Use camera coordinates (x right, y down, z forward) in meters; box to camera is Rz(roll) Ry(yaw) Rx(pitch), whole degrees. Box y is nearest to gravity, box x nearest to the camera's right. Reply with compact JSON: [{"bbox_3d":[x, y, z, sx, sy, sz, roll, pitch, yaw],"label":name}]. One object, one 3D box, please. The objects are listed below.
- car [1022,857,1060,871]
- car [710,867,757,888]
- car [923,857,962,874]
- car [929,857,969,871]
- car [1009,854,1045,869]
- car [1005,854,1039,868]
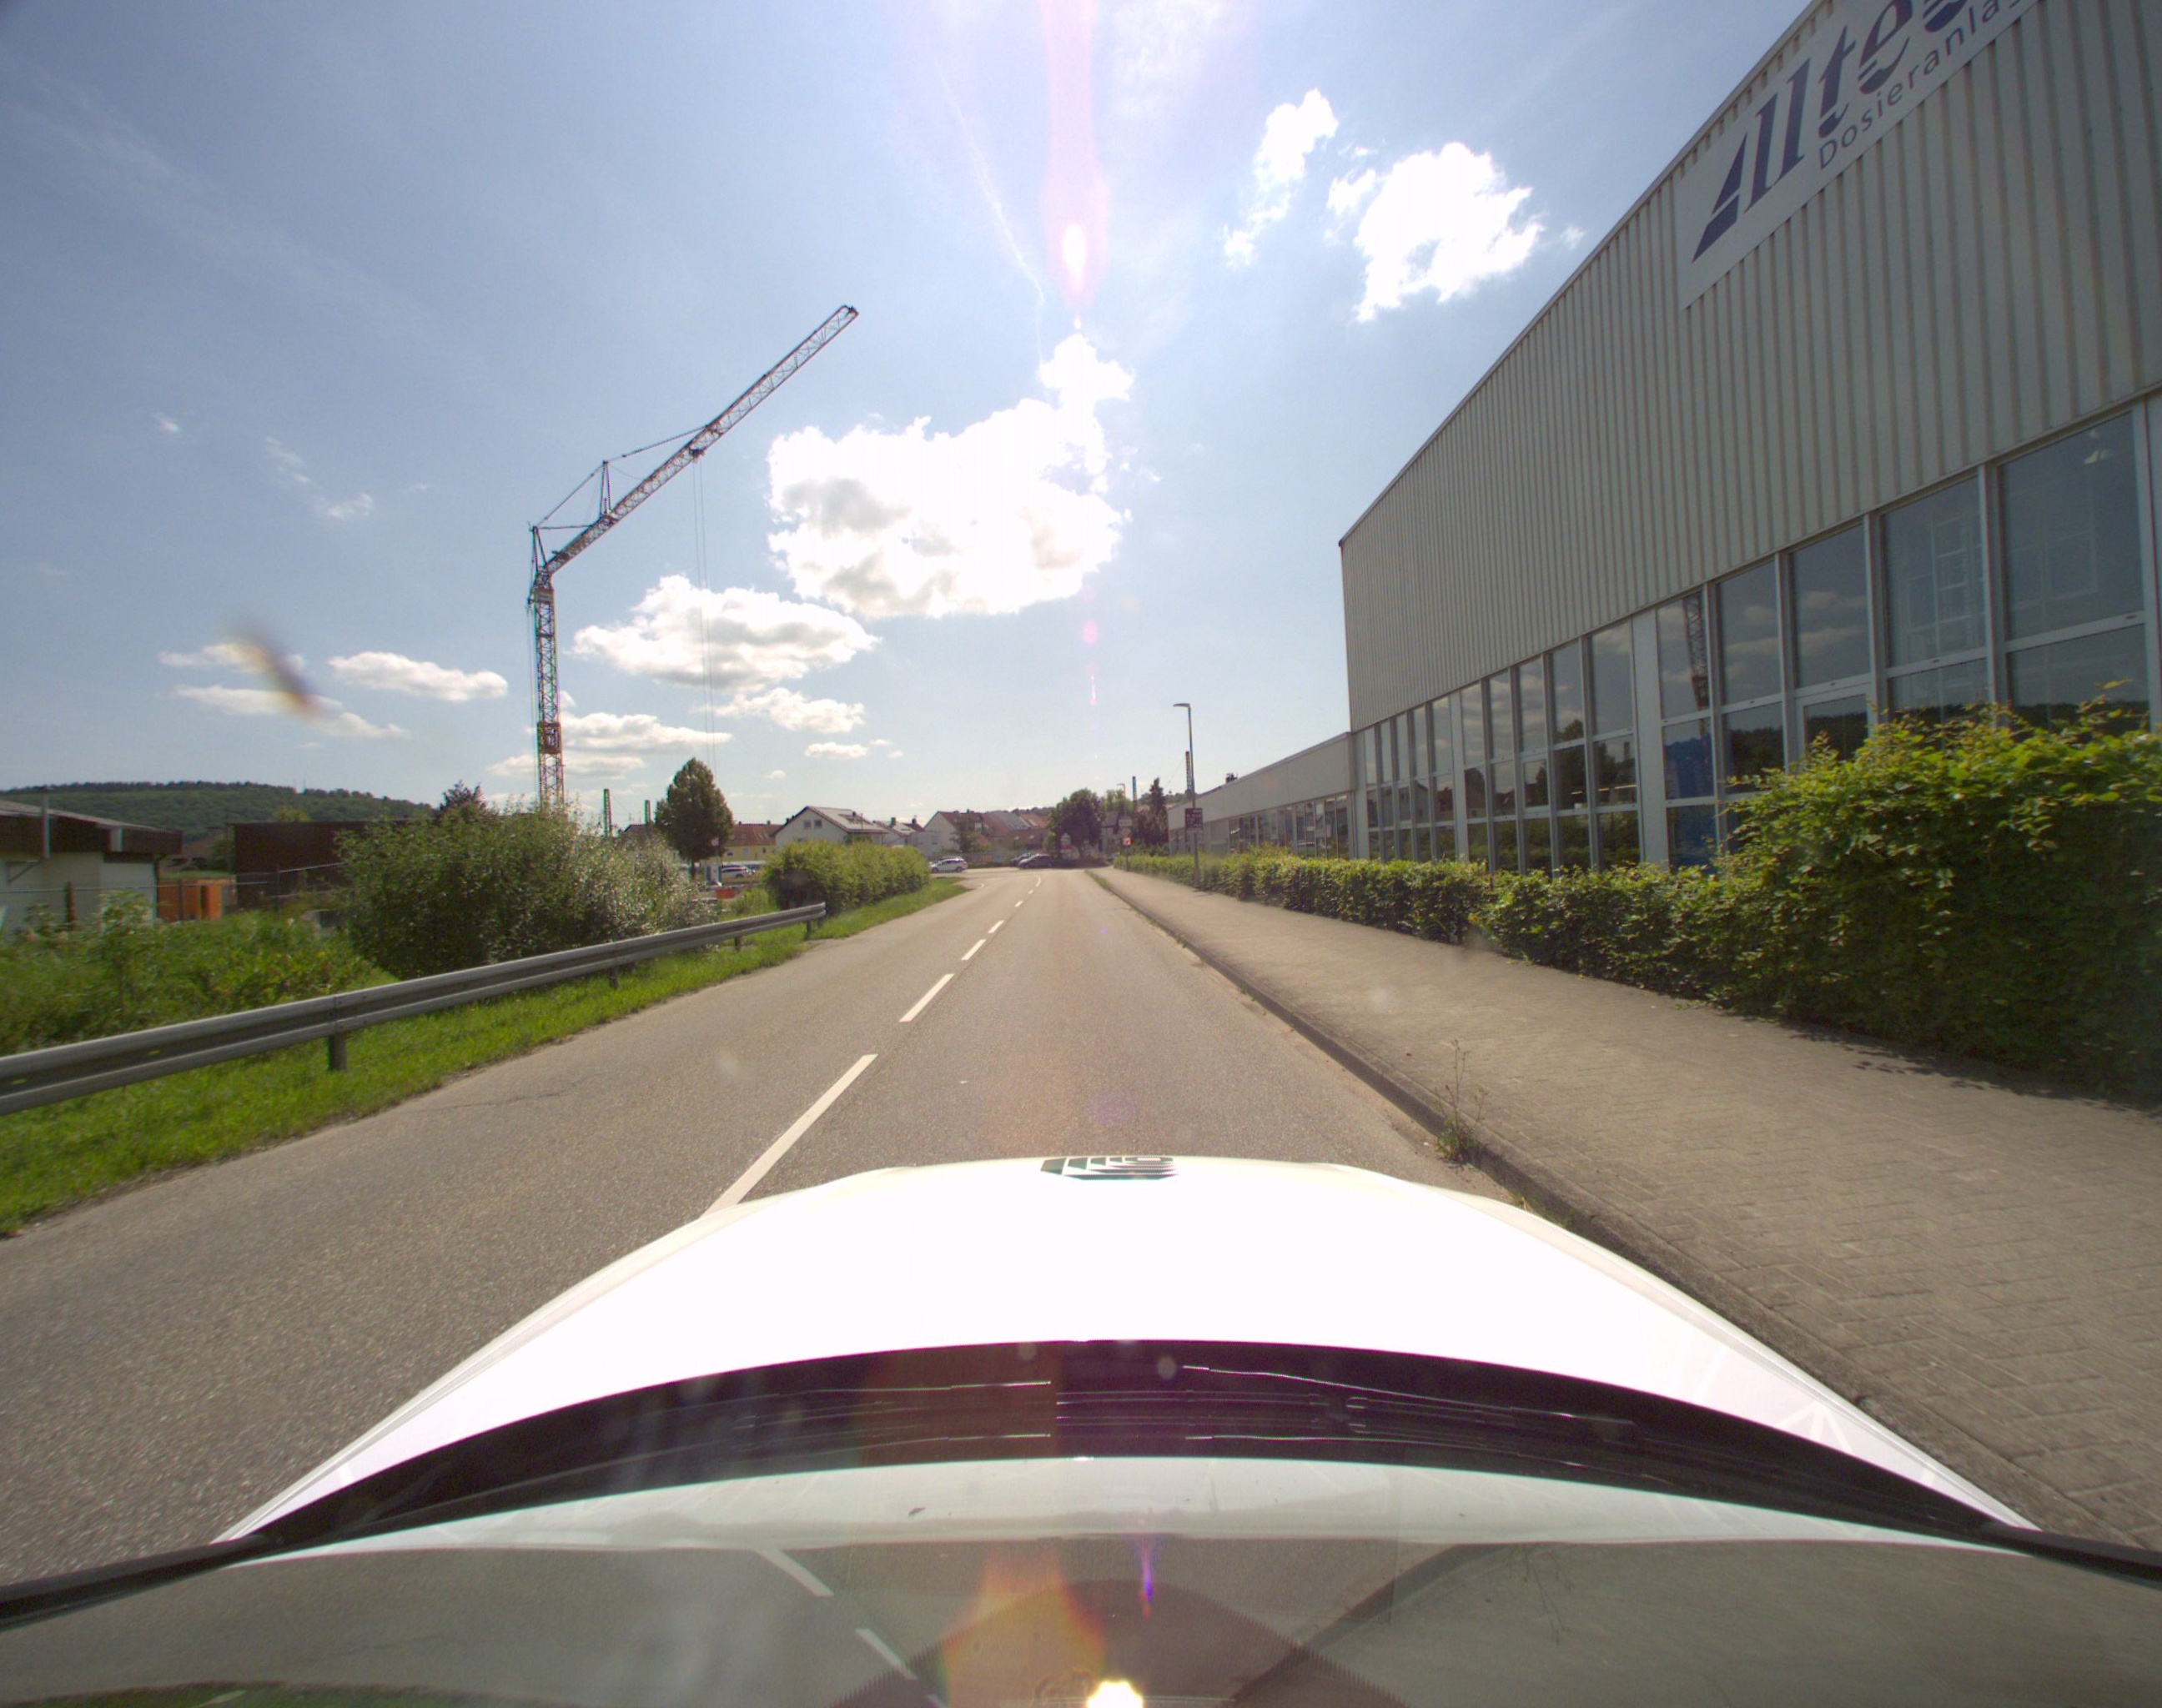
[{"bbox_3d":[-4.570,1.098,92.595,4.189,1.463,1.658,-2,-1,-11],"label":"car"},{"bbox_3d":[-37.117,2.443,86.913,4.422,2.013,1.982,-2,0,-27],"label":"car"},{"bbox_3d":[-16.120,1.312,94.839,4.453,1.690,1.993,-2,1,-11],"label":"car"},{"bbox_3d":[-14.638,1.153,90.256,4.289,1.477,1.819,0,-1,-14],"label":"car"},{"bbox_3d":[-6.433,0.888,96.739,3.989,1.657,1.992,-3,0,-12],"label":"car"},{"bbox_3d":[-7.277,0.846,99.934,3.989,1.730,1.763,-1,-1,-12],"label":"car"}]
